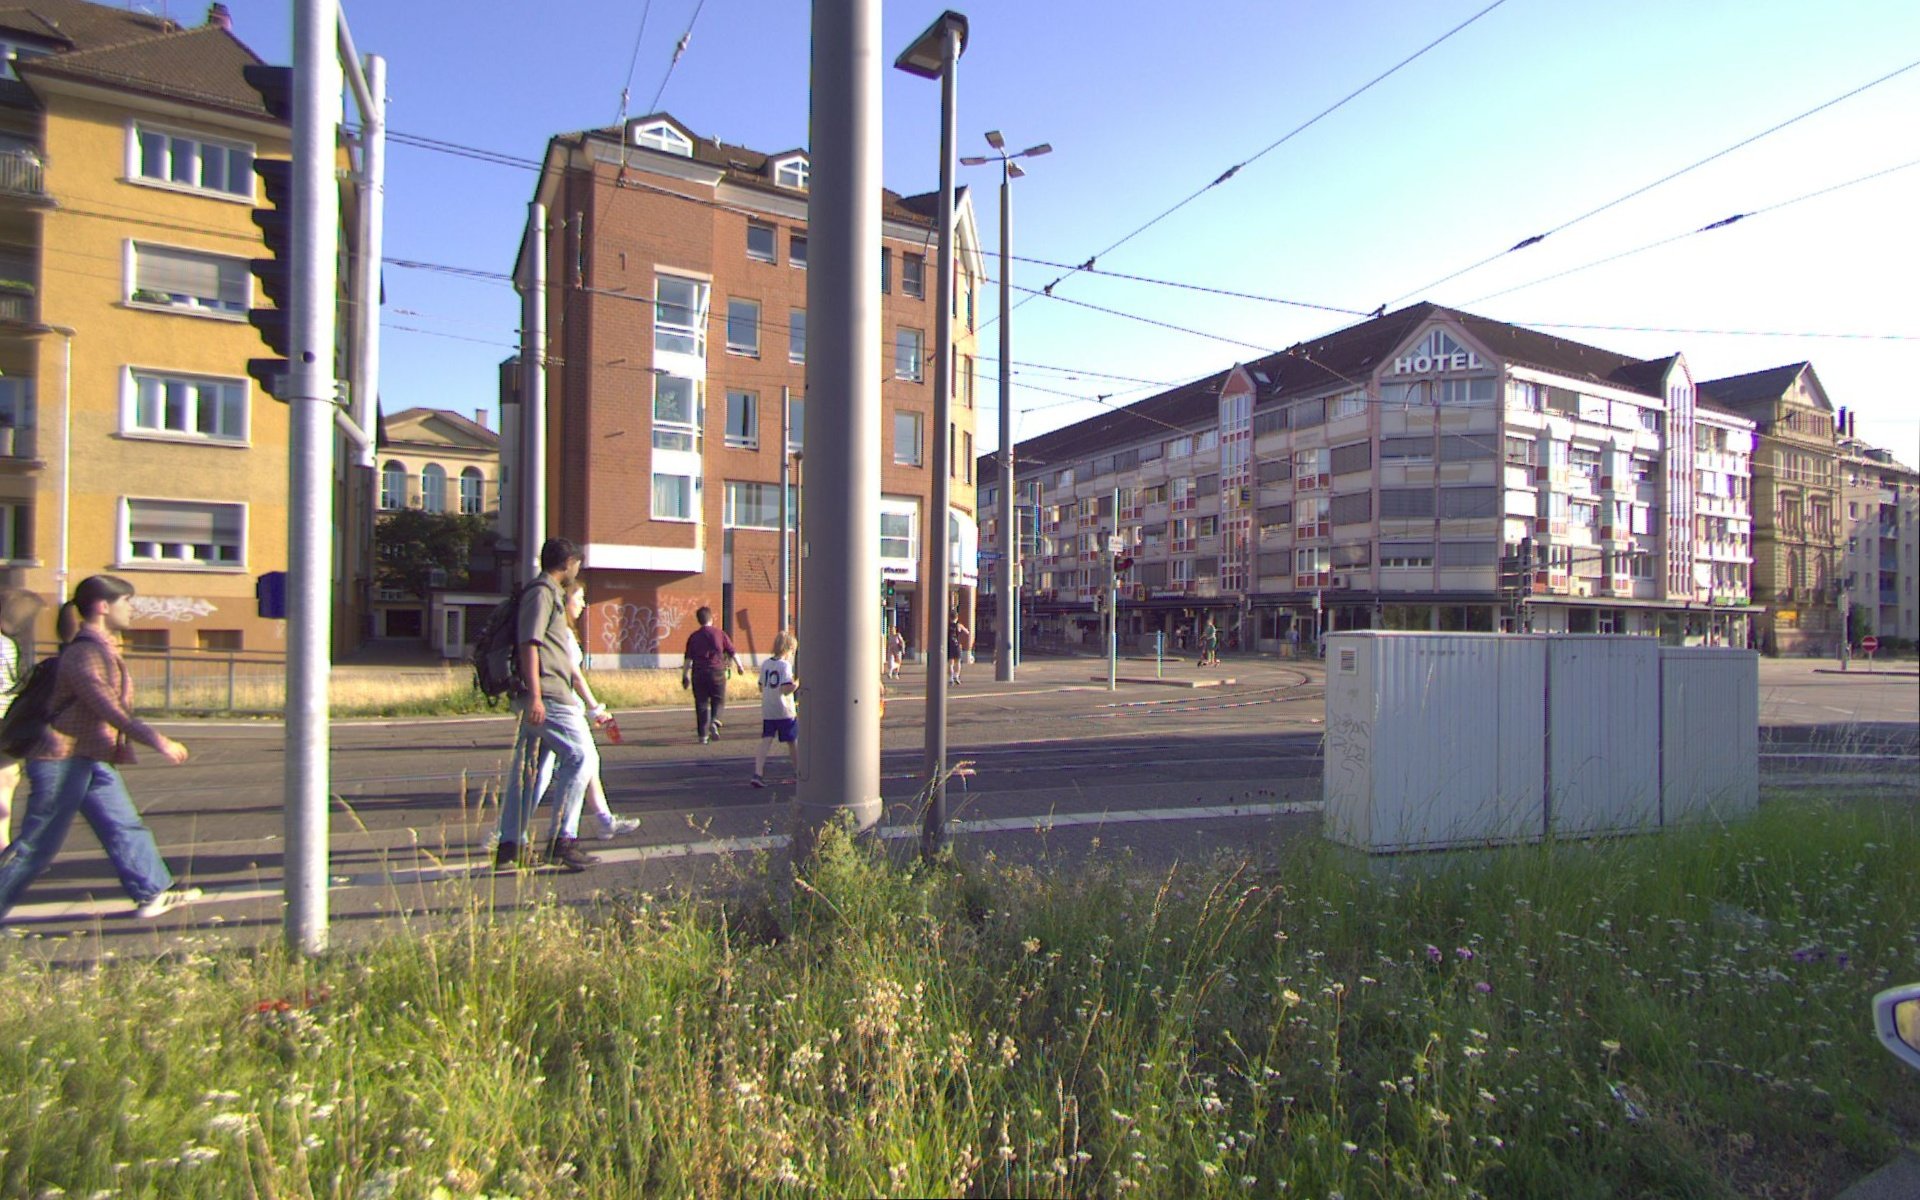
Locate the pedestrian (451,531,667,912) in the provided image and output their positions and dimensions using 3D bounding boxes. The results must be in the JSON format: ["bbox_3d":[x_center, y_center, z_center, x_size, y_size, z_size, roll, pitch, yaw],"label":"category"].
[{"bbox_3d":[-2.158,0.604,5.379,0.889,1.825,0.782,4,-1,-29],"label":"pedestrian"}]

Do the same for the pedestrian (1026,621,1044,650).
[{"bbox_3d":[4.493,2.142,60.154,0.773,1.682,0.677,2,0,-35],"label":"pedestrian"}]

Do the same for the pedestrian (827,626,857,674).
[{"bbox_3d":[-4.063,1.710,34.428,0.830,1.605,0.680,2,0,-23],"label":"pedestrian"}]

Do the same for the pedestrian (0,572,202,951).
[{"bbox_3d":[-3.932,0.667,4.577,0.612,1.556,0.782,2,0,-28],"label":"pedestrian"}]

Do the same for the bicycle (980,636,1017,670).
[{"bbox_3d":[1.716,2.353,44.723,0.575,1.385,2.087,0,1,36],"label":"bicycle"}]

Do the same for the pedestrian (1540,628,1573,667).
[{"bbox_3d":[31.376,2.480,52.881,0.847,1.909,1.187,-9,6,-33],"label":"pedestrian"}]

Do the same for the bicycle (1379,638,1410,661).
[{"bbox_3d":[24.191,2.763,55.952,1.746,1.160,0.636,-1,1,-27],"label":"bicycle"}]

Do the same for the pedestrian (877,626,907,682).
[{"bbox_3d":[-2.022,1.607,29.792,0.825,1.605,0.683,2,0,-3],"label":"pedestrian"}]

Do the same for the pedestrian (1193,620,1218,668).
[{"bbox_3d":[9.835,1.771,40.235,0.713,1.872,0.559,2,0,-23],"label":"pedestrian"}]

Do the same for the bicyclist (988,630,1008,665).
[{"bbox_3d":[1.693,2.102,44.716,0.557,1.501,0.735,0,1,36],"label":"bicyclist"}]

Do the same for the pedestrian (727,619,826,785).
[{"bbox_3d":[-1.596,0.863,8.780,0.586,1.378,0.607,-1,-2,30],"label":"pedestrian"}]

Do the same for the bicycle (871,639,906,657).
[{"bbox_3d":[-3.913,2.621,55.019,1.813,0.974,0.540,1,1,-27],"label":"bicycle"}]

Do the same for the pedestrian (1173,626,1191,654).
[{"bbox_3d":[13.647,2.461,61.699,0.773,1.682,0.677,2,0,-35],"label":"pedestrian"}]

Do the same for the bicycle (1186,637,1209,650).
[{"bbox_3d":[17.091,3.118,72.268,0.494,0.929,2.066,2,-2,-24],"label":"bicycle"}]

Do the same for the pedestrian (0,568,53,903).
[{"bbox_3d":[-5.207,0.666,5.180,0.612,1.662,0.781,2,-1,-32],"label":"pedestrian"}]

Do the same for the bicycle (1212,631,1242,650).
[{"bbox_3d":[18.459,2.804,69.584,0.720,1.243,2.319,2,-2,-24],"label":"bicycle"}]

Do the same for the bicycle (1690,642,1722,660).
[{"bbox_3d":[48.491,3.299,65.270,2.056,1.085,0.451,2,0,-13],"label":"bicycle"}]

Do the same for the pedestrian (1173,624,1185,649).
[{"bbox_3d":[16.658,2.752,76.420,0.601,1.877,0.601,2,0,-20],"label":"pedestrian"}]

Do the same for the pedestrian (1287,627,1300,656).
[{"bbox_3d":[20.623,2.560,62.098,0.612,1.717,0.866,2,0,29],"label":"pedestrian"}]

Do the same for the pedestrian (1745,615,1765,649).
[{"bbox_3d":[57.819,2.313,73.081,0.953,2.430,0.918,2,0,-40],"label":"pedestrian"}]

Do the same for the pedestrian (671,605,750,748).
[{"bbox_3d":[-2.926,0.876,11.761,0.777,1.609,0.605,2,0,-24],"label":"pedestrian"}]

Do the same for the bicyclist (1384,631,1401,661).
[{"bbox_3d":[24.063,2.536,55.880,0.649,1.618,0.636,-1,1,-26],"label":"bicyclist"}]

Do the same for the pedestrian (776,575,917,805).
[{"bbox_3d":[-0.936,0.706,8.408,0.762,1.781,0.899,2,0,28],"label":"pedestrian"}]

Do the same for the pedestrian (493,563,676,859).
[{"bbox_3d":[-2.331,0.632,6.213,0.890,1.662,0.781,2,0,-32],"label":"pedestrian"}]

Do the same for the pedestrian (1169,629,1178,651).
[{"bbox_3d":[16.231,3.017,76.351,0.598,1.656,0.604,0,-4,16],"label":"pedestrian"}]

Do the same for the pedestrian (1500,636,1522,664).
[{"bbox_3d":[29.028,2.625,52.911,0.847,1.472,0.700,2,0,-34],"label":"pedestrian"}]

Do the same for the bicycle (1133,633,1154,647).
[{"bbox_3d":[14.601,3.182,79.897,1.630,1.134,0.480,2,0,-30],"label":"bicycle"}]

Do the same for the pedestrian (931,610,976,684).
[{"bbox_3d":[-0.159,1.157,24.897,0.824,1.781,0.687,2,0,-44],"label":"pedestrian"}]

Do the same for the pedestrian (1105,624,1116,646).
[{"bbox_3d":[12.548,2.886,83.866,0.804,1.802,0.680,2,0,0],"label":"pedestrian"}]

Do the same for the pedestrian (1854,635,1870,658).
[{"bbox_3d":[68.252,3.523,76.015,0.715,1.717,0.692,2,0,-30],"label":"pedestrian"}]

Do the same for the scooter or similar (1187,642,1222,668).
[{"bbox_3d":[9.806,2.203,40.259,1.311,1.019,0.484,2,0,-23],"label":"scooter or similar"}]
